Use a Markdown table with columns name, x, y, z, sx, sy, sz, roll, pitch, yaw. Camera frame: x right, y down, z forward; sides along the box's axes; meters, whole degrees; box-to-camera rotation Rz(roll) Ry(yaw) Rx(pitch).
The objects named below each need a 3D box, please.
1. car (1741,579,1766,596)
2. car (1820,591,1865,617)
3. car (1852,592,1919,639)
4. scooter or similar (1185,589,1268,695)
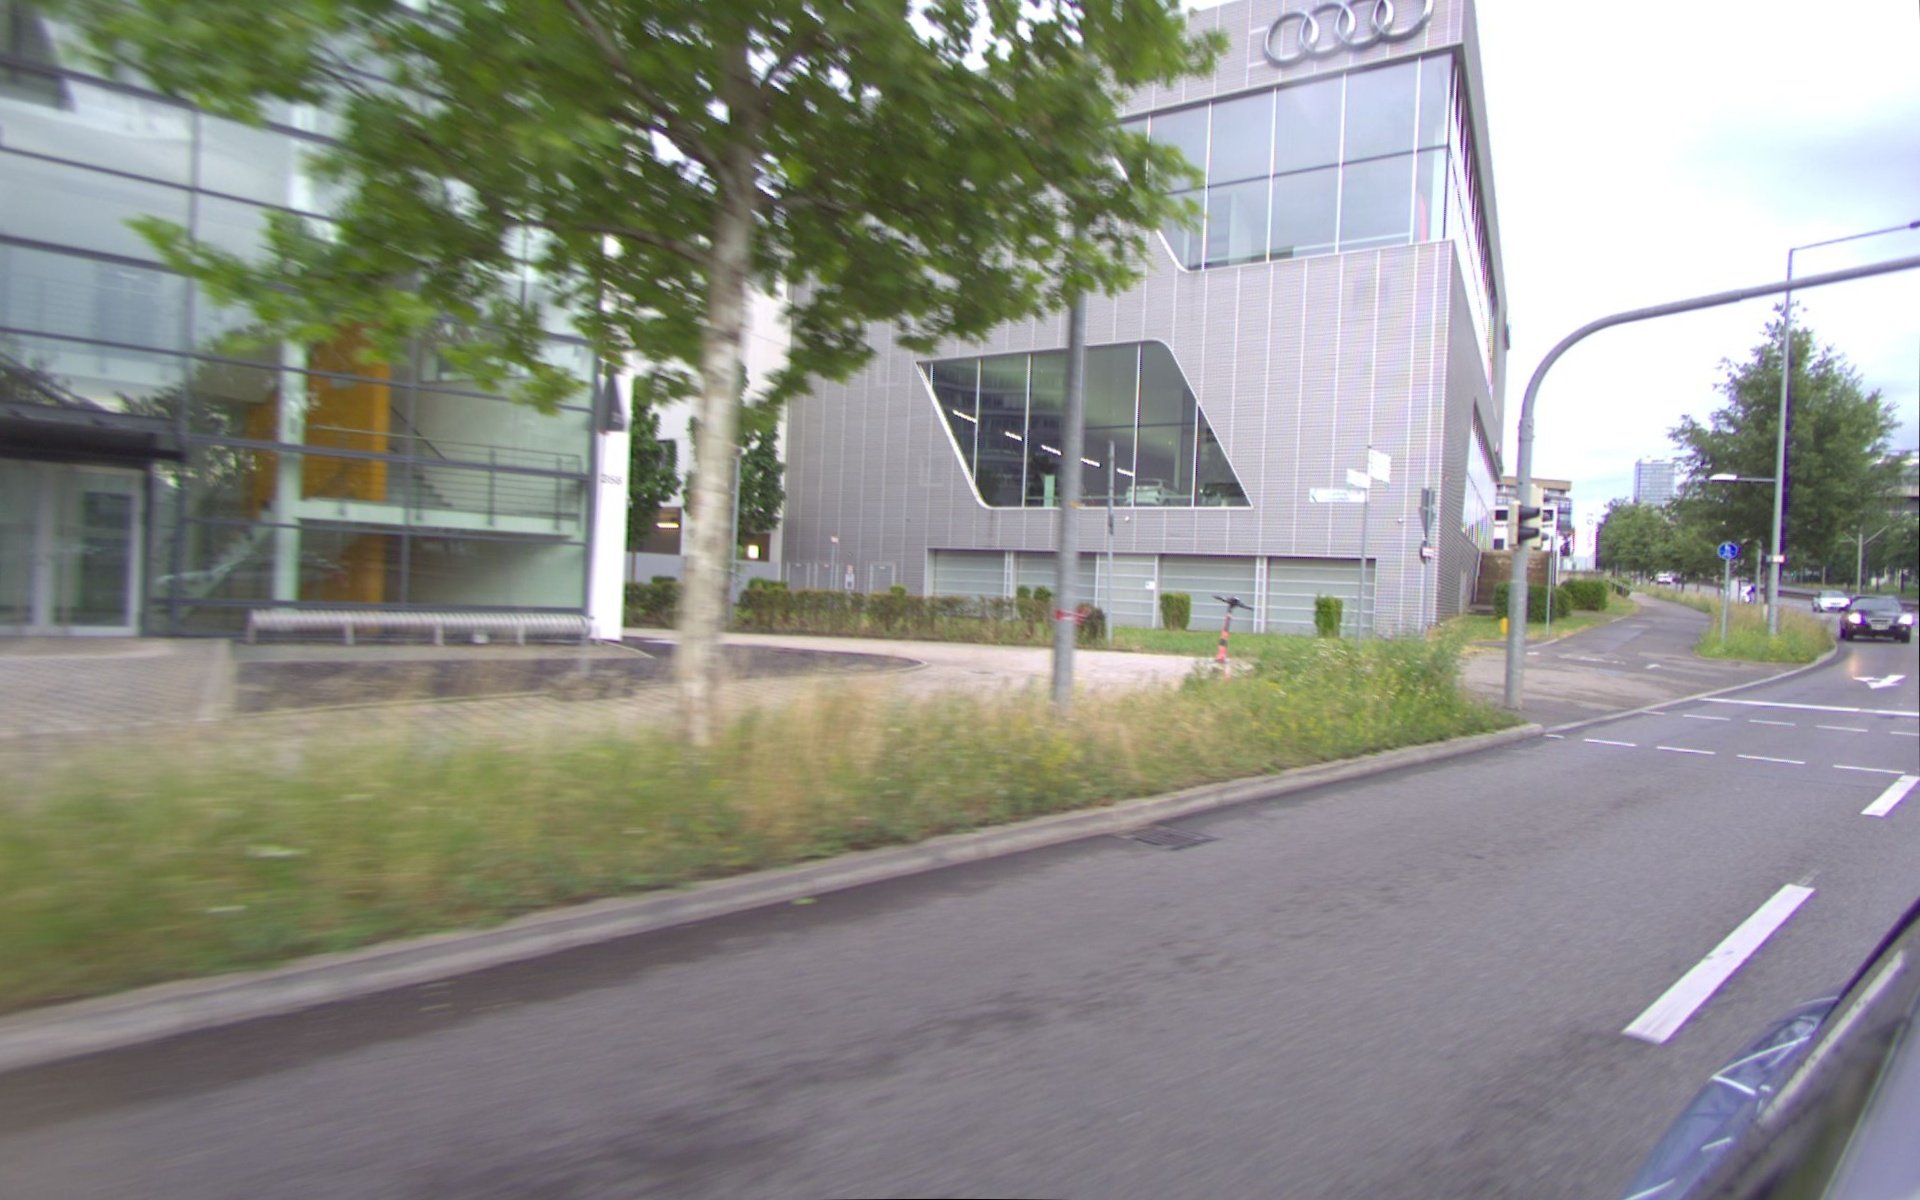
| name | x | y | z | sx | sy | sz | roll | pitch | yaw |
| --- | --- | --- | --- | --- | --- | --- | --- | --- | --- |
| car | 98.424 | -1.572 | 125.574 | 1.985 | 2.038 | 3.956 | 0 | 2 | 32 |
| car | 62.441 | 0.281 | 71.656 | 1.849 | 1.703 | 4.064 | 3 | 1 | 33 |
| car | 33.793 | 0.532 | 36.805 | 1.824 | 1.629 | 4.048 | 1 | 0 | 44 |
| scooter or similar | 3.444 | 0.508 | 13.030 | 0.457 | 1.278 | 1.317 | 4 | 3 | 40 |
